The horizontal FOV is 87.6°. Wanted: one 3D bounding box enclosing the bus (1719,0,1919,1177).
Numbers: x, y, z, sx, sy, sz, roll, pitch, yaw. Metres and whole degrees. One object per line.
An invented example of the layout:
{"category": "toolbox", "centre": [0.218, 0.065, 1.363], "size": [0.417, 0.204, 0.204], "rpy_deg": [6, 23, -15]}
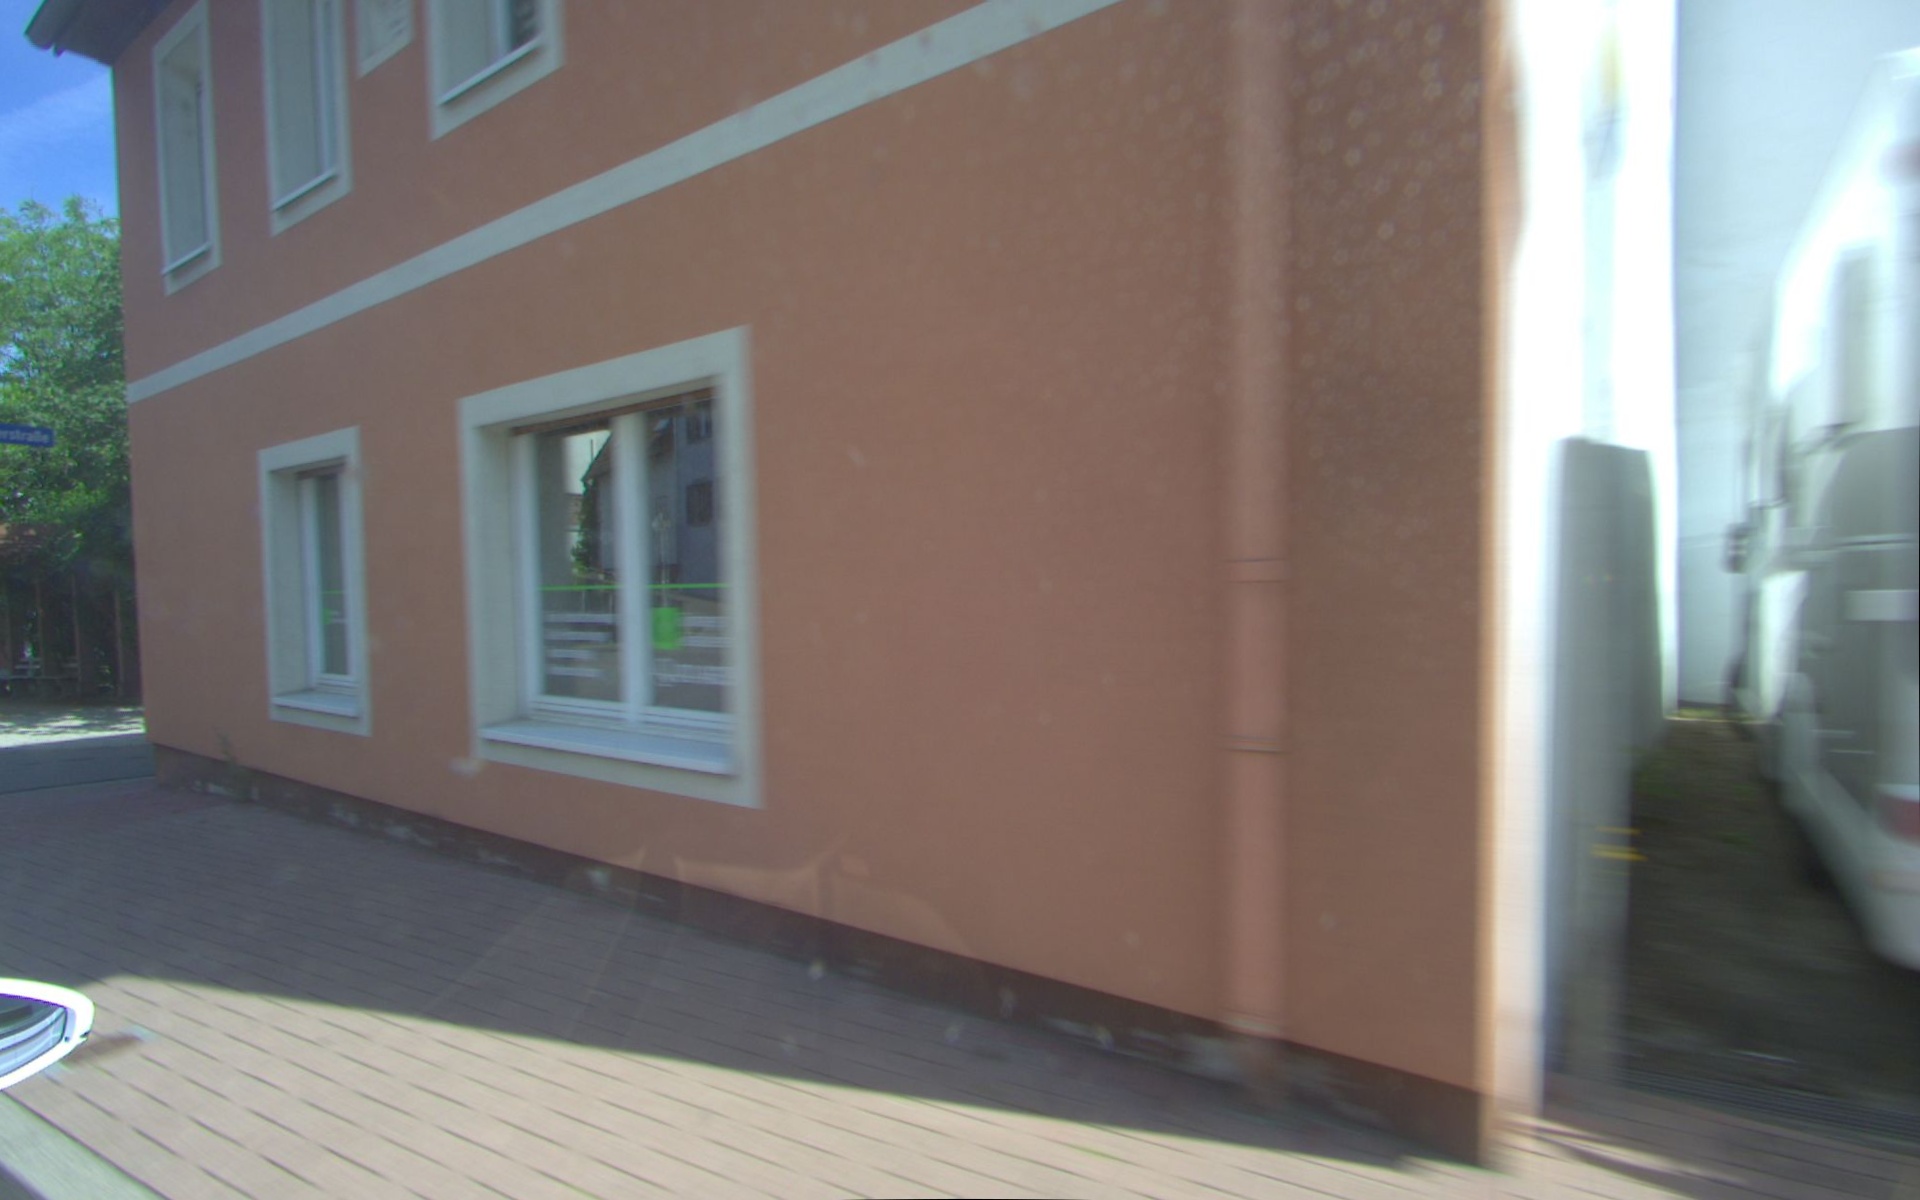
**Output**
{"category": "bus", "centre": [4.803, -0.310, 4.206], "size": [2.199, 2.945, 6.543], "rpy_deg": [-1, 2, 34]}
